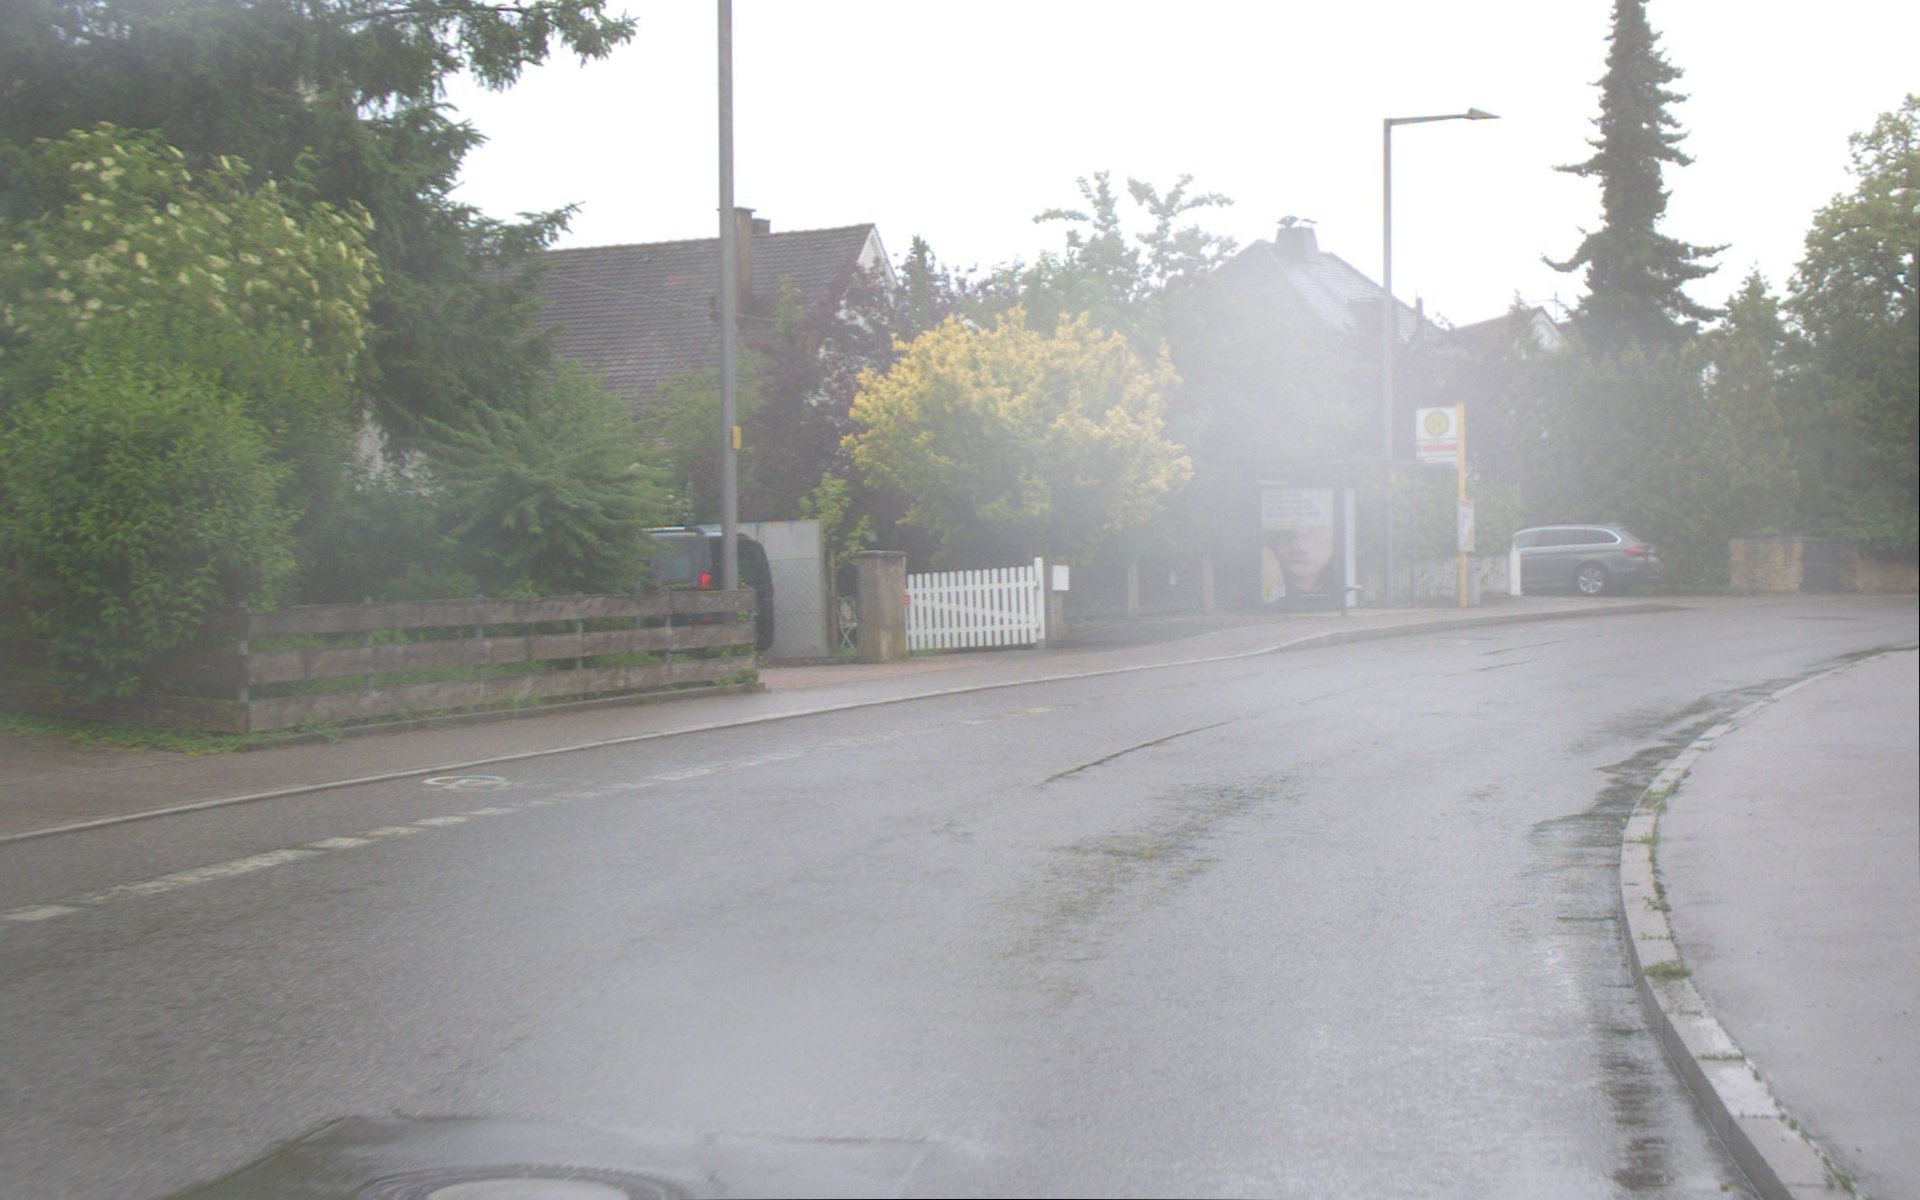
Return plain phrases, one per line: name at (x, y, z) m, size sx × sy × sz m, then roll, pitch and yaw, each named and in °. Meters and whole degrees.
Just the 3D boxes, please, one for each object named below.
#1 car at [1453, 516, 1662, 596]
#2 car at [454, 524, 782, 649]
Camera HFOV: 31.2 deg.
car at (12.061, -0.891, 69.372) m, size 3.849 × 1.567 × 1.784 m, roll 0°, pitch 1°, yaw 23°
car at (-4.630, -0.217, 46.469) m, size 3.993 × 1.614 × 1.997 m, roll 1°, pitch 1°, yaw 29°
